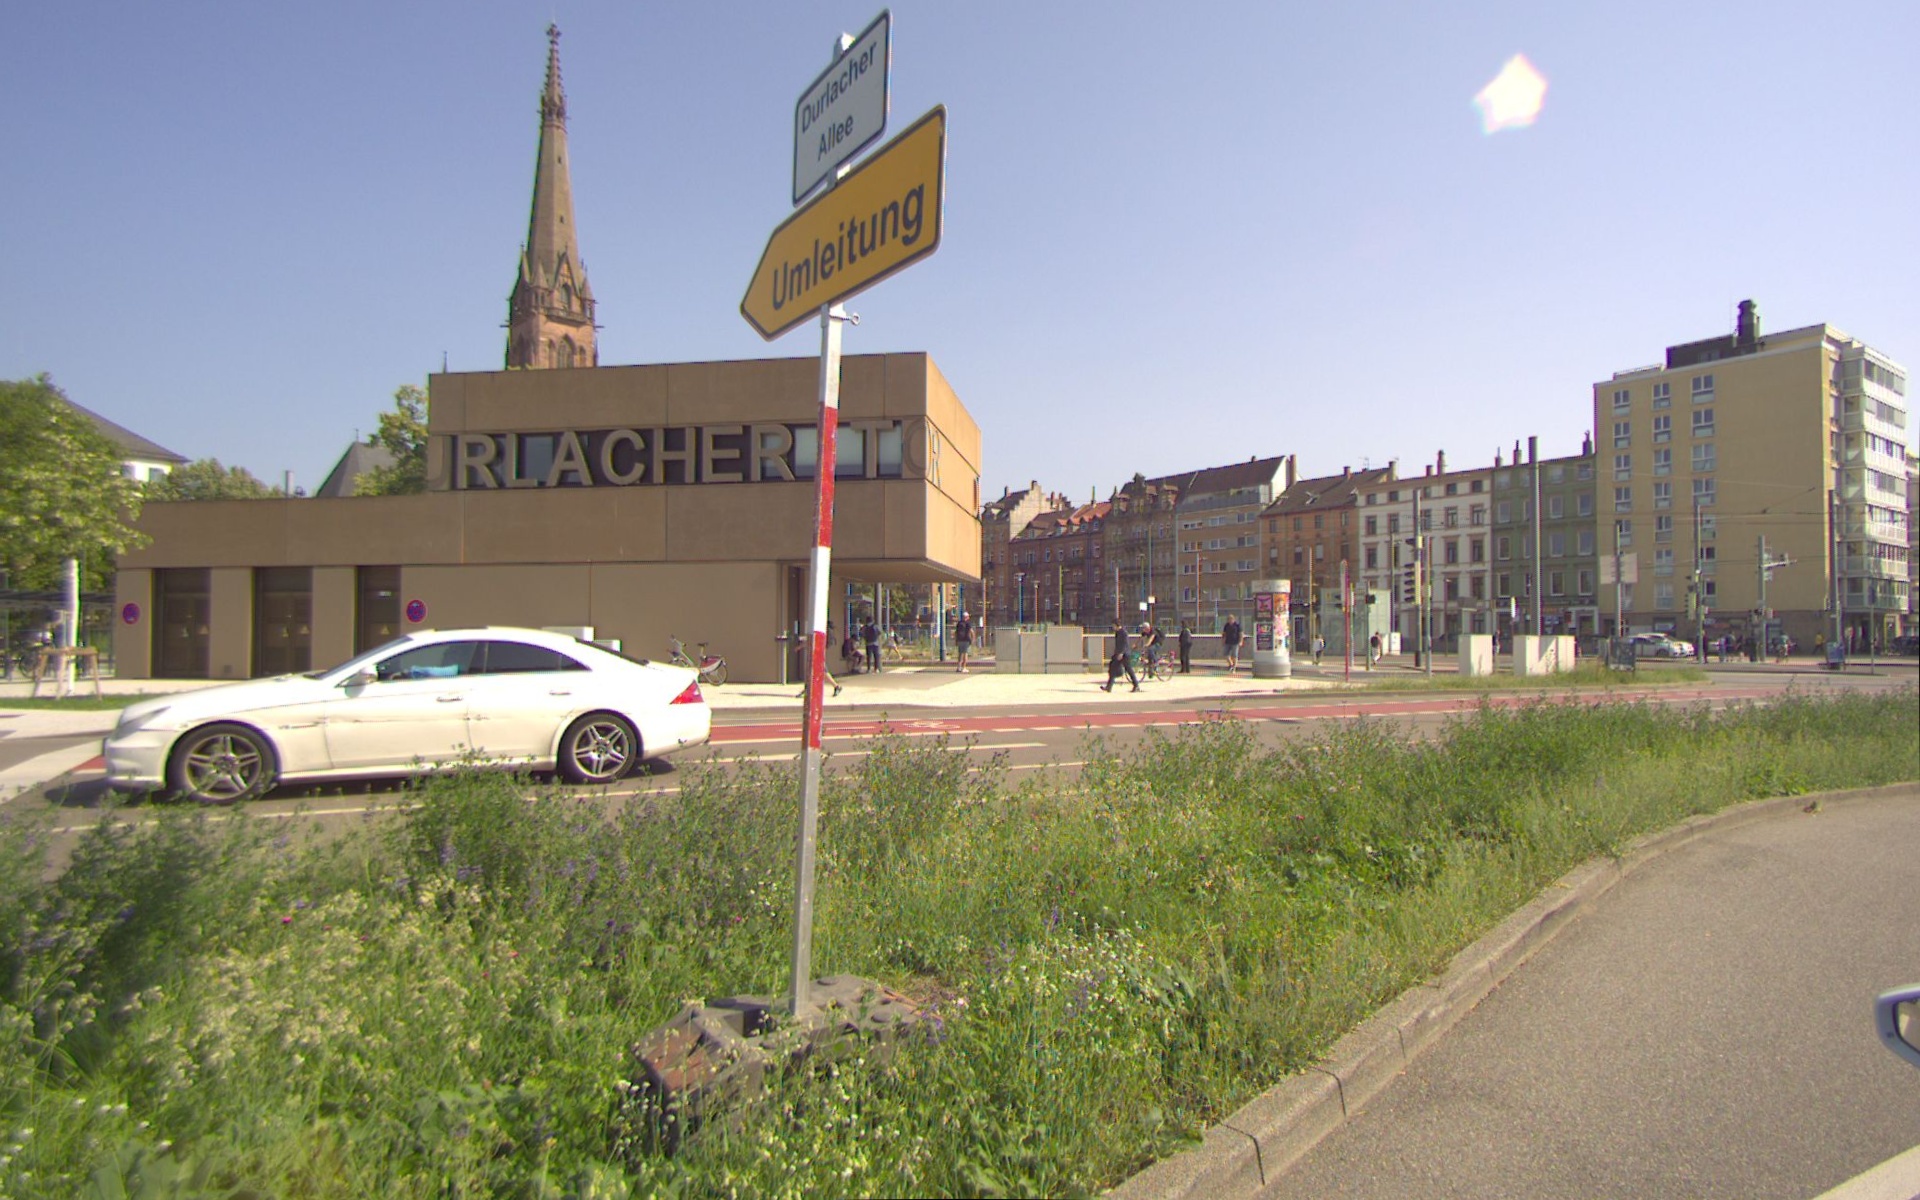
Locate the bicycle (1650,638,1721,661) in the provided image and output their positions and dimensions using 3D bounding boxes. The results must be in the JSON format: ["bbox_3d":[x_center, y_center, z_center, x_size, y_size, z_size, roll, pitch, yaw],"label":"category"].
[{"bbox_3d":[51.933,3.514,71.965,1.184,1.572,3.960,-2,0,-35],"label":"bicycle"}]

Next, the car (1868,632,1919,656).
[{"bbox_3d":[67.903,3.145,71.886,1.849,1.578,3.964,-2,0,-33],"label":"car"}]

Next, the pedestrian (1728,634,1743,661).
[{"bbox_3d":[44.956,2.766,58.232,0.489,1.507,0.440,-2,0,17],"label":"pedestrian"}]

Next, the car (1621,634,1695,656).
[{"bbox_3d":[46.122,2.976,66.439,1.570,1.411,3.715,1,-2,-33],"label":"car"}]

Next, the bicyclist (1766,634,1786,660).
[{"bbox_3d":[45.591,2.604,56.113,0.684,1.453,0.720,1,-2,-38],"label":"bicyclist"}]

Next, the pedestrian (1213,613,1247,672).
[{"bbox_3d":[8.701,1.358,32.338,0.865,1.843,0.895,-2,0,27],"label":"pedestrian"}]

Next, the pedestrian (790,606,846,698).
[{"bbox_3d":[-2.832,1.022,20.031,0.667,1.783,0.876,0,-1,35],"label":"pedestrian"}]

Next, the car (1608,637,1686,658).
[{"bbox_3d":[43.748,3.002,64.040,1.558,1.195,3.811,4,-3,-30],"label":"car"}]

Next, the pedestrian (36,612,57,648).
[{"bbox_3d":[-46.286,1.526,50.904,0.383,1.771,0.713,-2,-2,42],"label":"pedestrian"}]

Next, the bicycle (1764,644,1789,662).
[{"bbox_3d":[45.632,2.946,56.145,1.717,0.997,0.722,2,-2,-39],"label":"bicycle"}]

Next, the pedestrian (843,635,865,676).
[{"bbox_3d":[-3.104,1.634,29.459,0.513,1.187,0.596,0,-2,8],"label":"pedestrian"}]

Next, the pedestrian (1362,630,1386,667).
[{"bbox_3d":[20.969,2.447,50.882,0.770,1.843,0.828,3,-2,-34],"label":"pedestrian"}]

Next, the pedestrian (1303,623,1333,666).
[{"bbox_3d":[17.665,2.191,49.607,1.011,2.040,0.952,-2,0,-34],"label":"pedestrian"}]

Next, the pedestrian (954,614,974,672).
[{"bbox_3d":[0.118,1.383,32.631,0.547,1.843,0.392,-2,0,-9],"label":"pedestrian"}]

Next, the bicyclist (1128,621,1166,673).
[{"bbox_3d":[5.171,1.283,27.788,0.873,1.380,0.559,-2,1,-31],"label":"bicyclist"}]

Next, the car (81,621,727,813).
[{"bbox_3d":[-4.766,0.955,9.329,4.760,1.379,1.834,2,-1,-29],"label":"car"}]

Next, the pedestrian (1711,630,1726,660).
[{"bbox_3d":[43.556,2.598,57.679,0.539,1.707,0.453,-2,0,-22],"label":"pedestrian"}]

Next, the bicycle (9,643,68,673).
[{"bbox_3d":[-31.860,1.987,34.732,1.837,1.022,0.462,-1,-2,11],"label":"bicycle"}]

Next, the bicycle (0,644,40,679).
[{"bbox_3d":[-28.816,1.859,30.445,1.710,1.022,0.401,-1,-2,11],"label":"bicycle"}]

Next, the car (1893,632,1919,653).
[{"bbox_3d":[73.252,3.204,75.771,1.850,1.578,3.962,1,-2,-34],"label":"car"}]

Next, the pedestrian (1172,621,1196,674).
[{"bbox_3d":[6.844,1.442,30.730,0.500,1.601,0.497,-2,0,-19],"label":"pedestrian"}]

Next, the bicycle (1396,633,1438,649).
[{"bbox_3d":[40.587,3.651,89.224,0.766,1.366,3.506,-2,0,-35],"label":"bicycle"}]

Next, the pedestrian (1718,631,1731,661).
[{"bbox_3d":[44.453,2.658,58.413,0.447,1.707,0.440,-2,0,17],"label":"pedestrian"}]

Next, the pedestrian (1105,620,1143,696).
[{"bbox_3d":[4.024,1.403,24.735,0.831,1.802,0.877,-2,0,6],"label":"pedestrian"}]

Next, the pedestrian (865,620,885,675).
[{"bbox_3d":[-2.736,1.502,32.211,0.524,1.718,0.606,-2,0,-10],"label":"pedestrian"}]

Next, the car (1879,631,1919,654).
[{"bbox_3d":[70.296,3.118,73.711,1.775,1.578,3.919,-2,0,-33],"label":"car"}]

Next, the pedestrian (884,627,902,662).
[{"bbox_3d":[-3.118,2.058,46.718,0.783,1.612,0.691,0,-1,-4],"label":"pedestrian"}]

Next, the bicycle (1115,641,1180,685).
[{"bbox_3d":[5.200,1.736,27.789,1.829,1.078,0.559,-2,1,-31],"label":"bicycle"}]

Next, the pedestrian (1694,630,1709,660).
[{"bbox_3d":[42.873,2.602,58.081,0.537,1.707,0.455,-2,0,-10],"label":"pedestrian"}]

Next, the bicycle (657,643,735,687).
[{"bbox_3d":[-6.037,1.476,23.020,1.580,0.968,0.661,0,0,9],"label":"bicycle"}]
